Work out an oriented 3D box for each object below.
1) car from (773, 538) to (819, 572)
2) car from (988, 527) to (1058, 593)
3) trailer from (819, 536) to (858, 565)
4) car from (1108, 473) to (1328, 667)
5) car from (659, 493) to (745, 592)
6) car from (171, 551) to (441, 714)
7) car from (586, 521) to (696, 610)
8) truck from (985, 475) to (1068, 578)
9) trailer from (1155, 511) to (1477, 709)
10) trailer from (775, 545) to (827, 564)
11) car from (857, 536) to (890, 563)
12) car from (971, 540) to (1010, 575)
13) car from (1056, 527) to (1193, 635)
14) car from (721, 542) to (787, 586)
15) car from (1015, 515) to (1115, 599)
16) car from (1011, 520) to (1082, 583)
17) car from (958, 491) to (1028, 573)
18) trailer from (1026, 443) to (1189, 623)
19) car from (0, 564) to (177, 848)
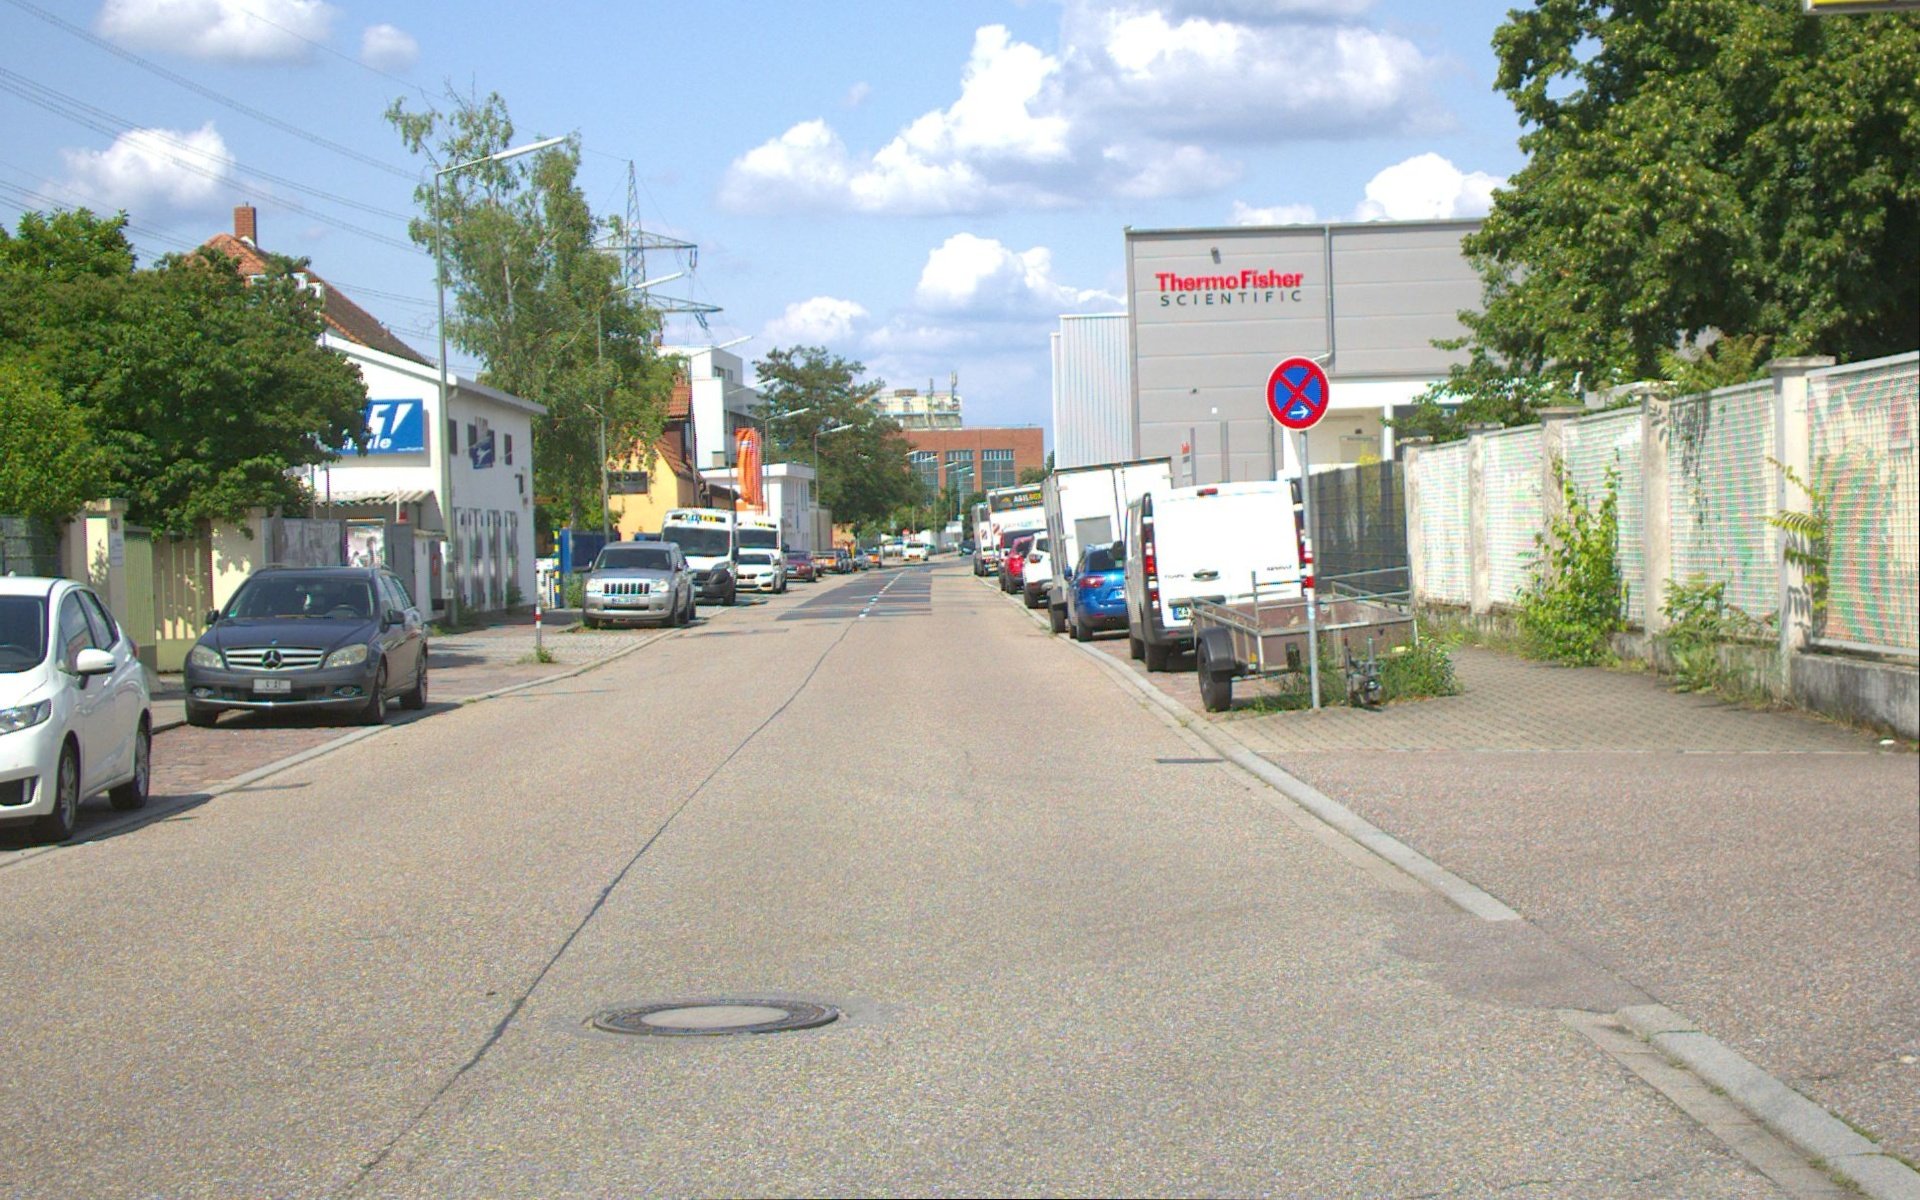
[{"bbox_3d":[-7.188,-1.961,150.976,1.762,1.442,4.741,0,0,0],"label":"car"},{"bbox_3d":[1.896,-1.224,103.643,2.054,1.897,5.147,-1,1,1],"label":"car"},{"bbox_3d":[-6.725,-2.766,190.852,1.993,1.551,4.254,-1,1,0],"label":"trailer"},{"bbox_3d":[2.875,-0.361,39.544,1.993,2.007,5.650,-2,1,0],"label":"car"},{"bbox_3d":[-6.900,-1.515,92.449,2.029,2.549,6.658,1,0,-2],"label":"car"},{"bbox_3d":[-6.102,0.256,32.539,1.805,1.414,4.497,1,1,-2],"label":"car"},{"bbox_3d":[-6.435,-0.715,69.750,1.790,1.713,4.752,1,1,0],"label":"car"},{"bbox_3d":[2.309,-2.569,121.137,2.458,3.282,6.818,-6,1,0],"label":"truck"},{"bbox_3d":[2.920,0.072,29.202,1.749,1.412,4.550,-5,1,-5],"label":"trailer"},{"bbox_3d":[-7.840,-2.247,169.832,2.362,0.890,5.569,0,1,0],"label":"trailer"},{"bbox_3d":[-5.761,-3.376,229.880,1.922,1.788,4.000,0,0,2],"label":"car"},{"bbox_3d":[1.468,-2.053,164.771,1.768,1.607,3.873,-2,0,1],"label":"car"},{"bbox_3d":[2.445,-0.287,51.935,1.690,1.456,4.071,-4,1,-1],"label":"car"},{"bbox_3d":[-6.707,-1.178,112.204,1.796,1.392,4.502,0,0,1],"label":"car"},{"bbox_3d":[2.318,-0.990,77.096,1.935,1.687,4.680,-4,1,0],"label":"car"},{"bbox_3d":[2.404,-1.346,96.603,1.704,1.619,4.093,-5,1,-1],"label":"car"},{"bbox_3d":[1.427,-2.974,152.116,2.388,3.351,6.646,-5,1,-3],"label":"car"},{"bbox_3d":[2.446,-1.109,58.643,2.204,2.727,6.222,-4,1,-1],"label":"trailer"},{"bbox_3d":[-5.942,0.576,20.864,1.620,1.517,4.176,-1,1,-3],"label":"car"}]
